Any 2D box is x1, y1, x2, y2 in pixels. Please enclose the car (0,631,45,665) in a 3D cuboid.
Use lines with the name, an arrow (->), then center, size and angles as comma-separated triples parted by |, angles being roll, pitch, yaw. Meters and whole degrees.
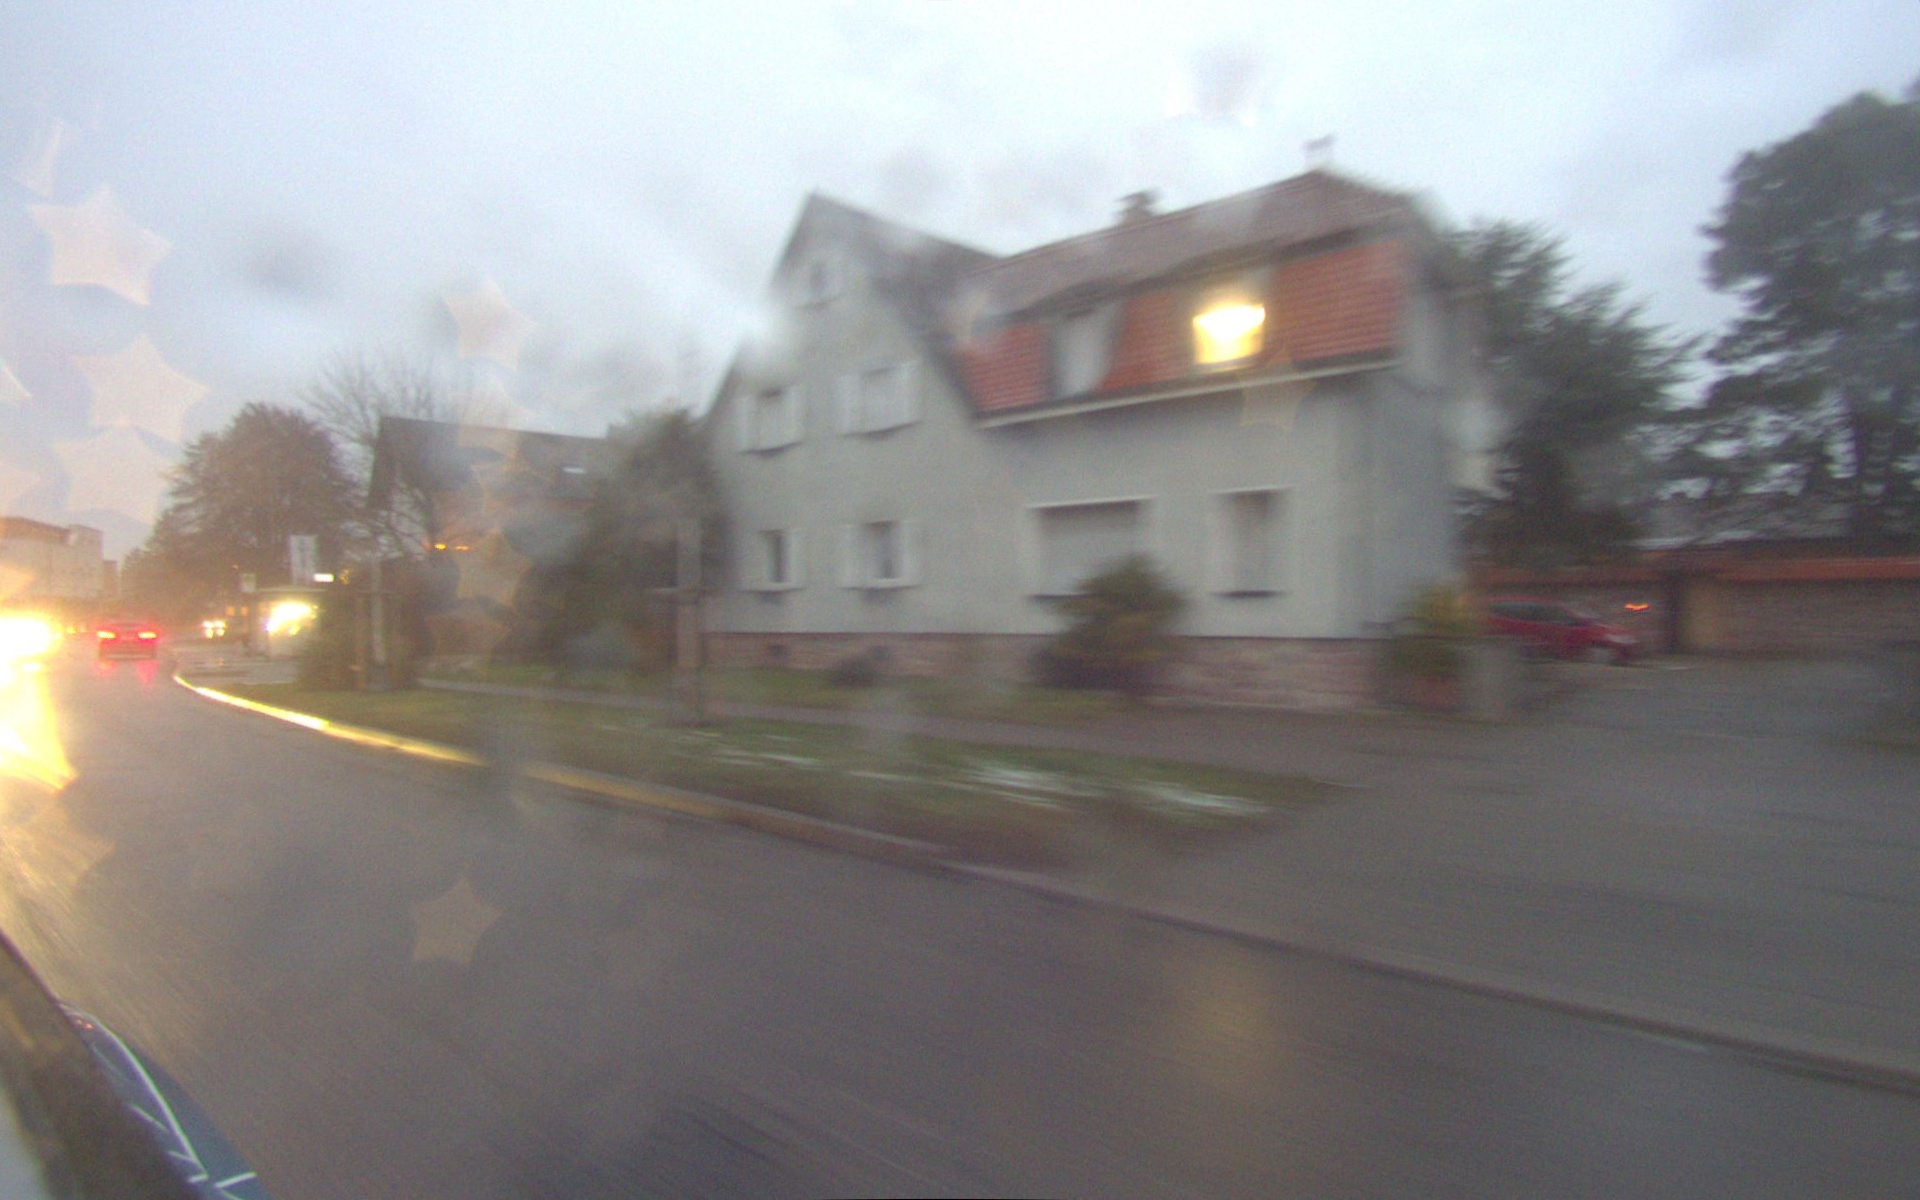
car -> -49.880, 2.513, 53.651 | 1.748, 1.630, 3.880 | -1, 0, -38

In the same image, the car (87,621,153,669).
car -> -33.881, 1.767, 40.828 | 1.938, 1.711, 4.007 | -1, 0, -40

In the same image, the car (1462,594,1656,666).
car -> 14.208, 0.703, 24.080 | 3.671, 1.587, 1.973 | -1, -2, 41
